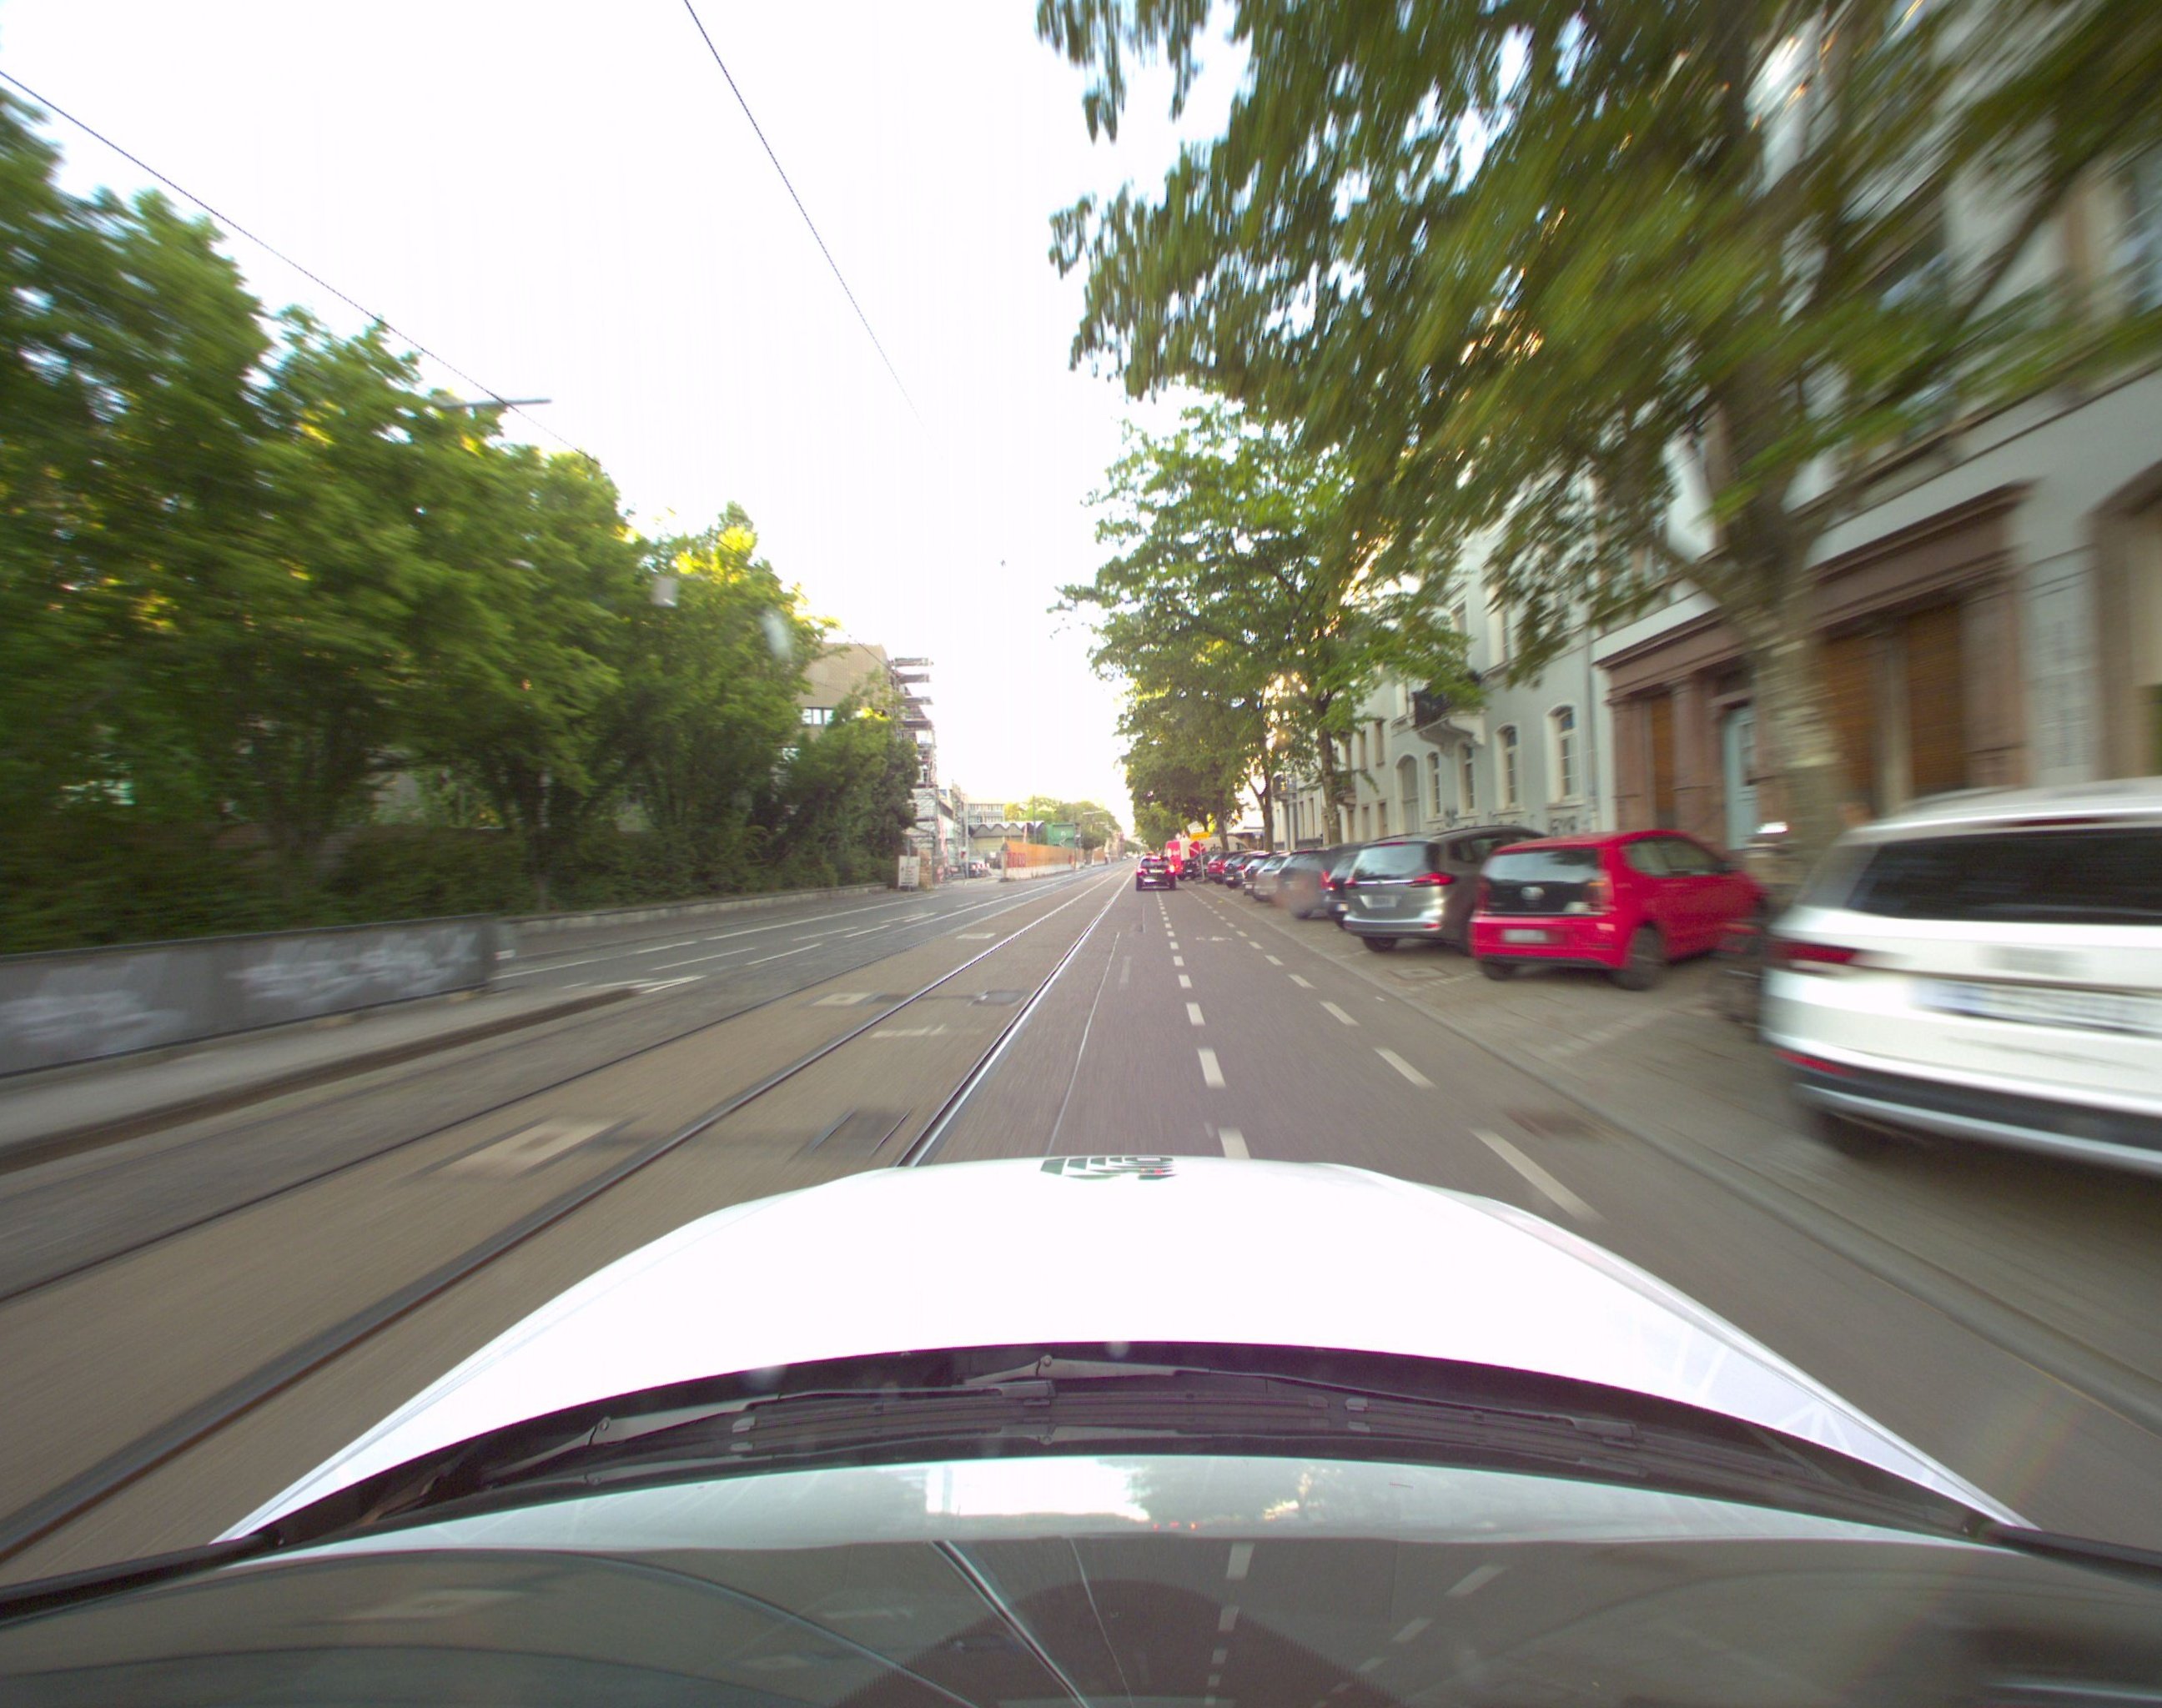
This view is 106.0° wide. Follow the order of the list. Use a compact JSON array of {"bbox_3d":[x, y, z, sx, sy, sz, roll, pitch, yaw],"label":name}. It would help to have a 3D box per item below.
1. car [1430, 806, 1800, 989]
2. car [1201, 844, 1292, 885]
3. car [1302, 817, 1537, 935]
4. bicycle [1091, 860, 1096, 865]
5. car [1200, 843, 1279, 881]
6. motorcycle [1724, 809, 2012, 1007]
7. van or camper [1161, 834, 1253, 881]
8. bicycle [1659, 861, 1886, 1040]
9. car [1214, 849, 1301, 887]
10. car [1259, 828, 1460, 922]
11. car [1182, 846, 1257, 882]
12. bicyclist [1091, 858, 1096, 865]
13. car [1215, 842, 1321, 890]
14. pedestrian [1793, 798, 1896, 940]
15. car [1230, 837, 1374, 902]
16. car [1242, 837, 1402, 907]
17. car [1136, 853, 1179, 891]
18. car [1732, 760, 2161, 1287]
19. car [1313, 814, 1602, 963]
[{"bbox_3d":[5.964,0.346,9.014,3.968,1.477,1.812,-5,1,-31],"label":"car"},{"bbox_3d":[8.182,0.518,40.181,3.959,1.603,1.826,-5,-1,-22],"label":"car"},{"bbox_3d":[6.217,0.358,14.893,3.965,1.603,1.731,-6,0,-28],"label":"car"},{"bbox_3d":[2.436,1.629,155.088,0.944,0.849,2.698,-3,0,2],"label":"bicycle"},{"bbox_3d":[8.969,0.440,46.129,3.959,1.765,1.826,-5,-1,-22],"label":"car"},{"bbox_3d":[6.460,0.399,6.891,0.865,1.392,2.088,-4,-1,19],"label":"motorcycle"},{"bbox_3d":[8.071,0.197,52.079,5.568,2.530,2.066,-5,-1,-31],"label":"van or camper"},{"bbox_3d":[5.160,0.667,6.067,1.670,1.075,0.461,-5,1,-20],"label":"bicycle"},{"bbox_3d":[8.100,0.645,37.325,3.663,1.445,1.643,-3,-2,-31],"label":"car"},{"bbox_3d":[6.087,0.435,17.773,3.965,1.603,1.824,-5,0,-28],"label":"car"},{"bbox_3d":[8.260,0.571,48.593,3.959,1.765,1.826,-5,-1,-22],"label":"car"},{"bbox_3d":[2.409,1.361,154.317,0.941,1.346,1.112,-2,0,1],"label":"bicyclist"},{"bbox_3d":[7.775,0.503,33.820,3.965,1.603,1.824,-5,-1,-28],"label":"car"},{"bbox_3d":[8.987,0.174,9.607,0.583,1.609,0.625,-2,0,5],"label":"pedestrian"},{"bbox_3d":[6.699,0.457,24.649,3.965,1.603,1.824,-4,-1,-28],"label":"car"},{"bbox_3d":[6.602,0.475,22.264,3.965,1.603,1.823,-3,-1,-29],"label":"car"},{"bbox_3d":[3.472,0.794,37.557,1.873,1.620,4.004,0,0,4],"label":"car"},{"bbox_3d":[4.957,0.396,3.612,3.963,1.626,1.659,-4,1,-26],"label":"car"},{"bbox_3d":[5.518,0.420,11.834,3.970,1.668,1.882,-4,-1,-33],"label":"car"}]
